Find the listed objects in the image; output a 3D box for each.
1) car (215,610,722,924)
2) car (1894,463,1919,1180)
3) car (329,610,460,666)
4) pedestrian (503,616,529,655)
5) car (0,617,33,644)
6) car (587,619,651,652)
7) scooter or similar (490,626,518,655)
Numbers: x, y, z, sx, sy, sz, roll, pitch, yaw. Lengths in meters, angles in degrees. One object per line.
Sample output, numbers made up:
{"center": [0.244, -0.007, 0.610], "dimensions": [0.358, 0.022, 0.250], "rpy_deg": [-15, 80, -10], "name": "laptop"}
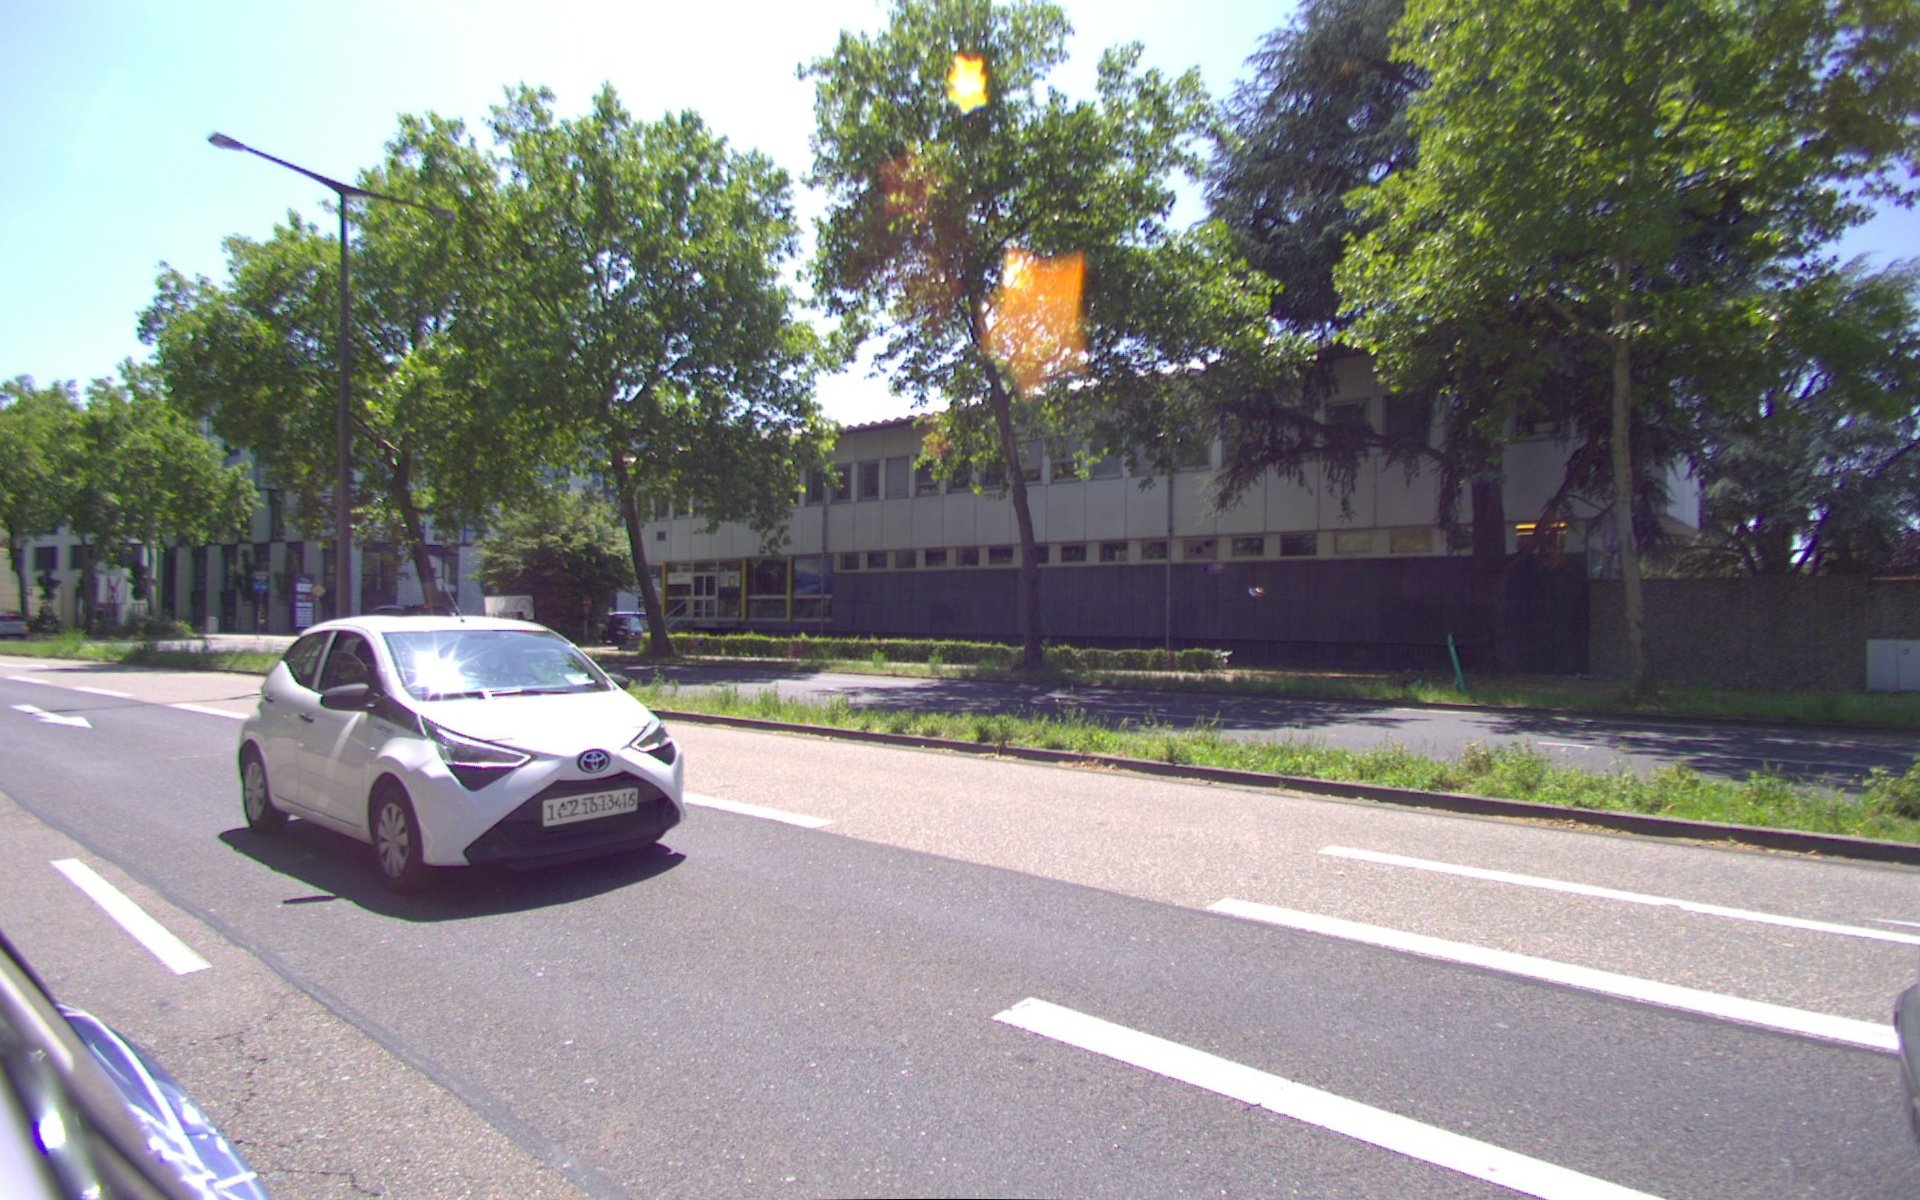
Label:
{"center": [-3.307, 0.820, 6.526], "dimensions": [3.649, 1.456, 1.602], "rpy_deg": [-1, -2, 40], "name": "car"}
{"center": [3.957, 0.559, 0.792], "dimensions": [4.646, 1.769, 1.835], "rpy_deg": [-1, -1, 41], "name": "car"}
{"center": [-18.453, 1.205, 32.982], "dimensions": [4.431, 1.692, 1.896], "rpy_deg": [-1, -2, 34], "name": "car"}
{"center": [-18.058, 1.451, 41.151], "dimensions": [0.788, 1.572, 0.637], "rpy_deg": [-1, -2, 32], "name": "pedestrian"}
{"center": [-53.733, 1.682, 56.324], "dimensions": [4.528, 1.429, 1.841], "rpy_deg": [0, -2, 29], "name": "car"}
{"center": [-18.680, 1.902, 55.405], "dimensions": [3.526, 1.660, 1.796], "rpy_deg": [0, 0, 41], "name": "car"}
{"center": [-18.753, 1.647, 41.589], "dimensions": [0.856, 1.172, 0.673], "rpy_deg": [-1, -2, 32], "name": "scooter or similar"}
